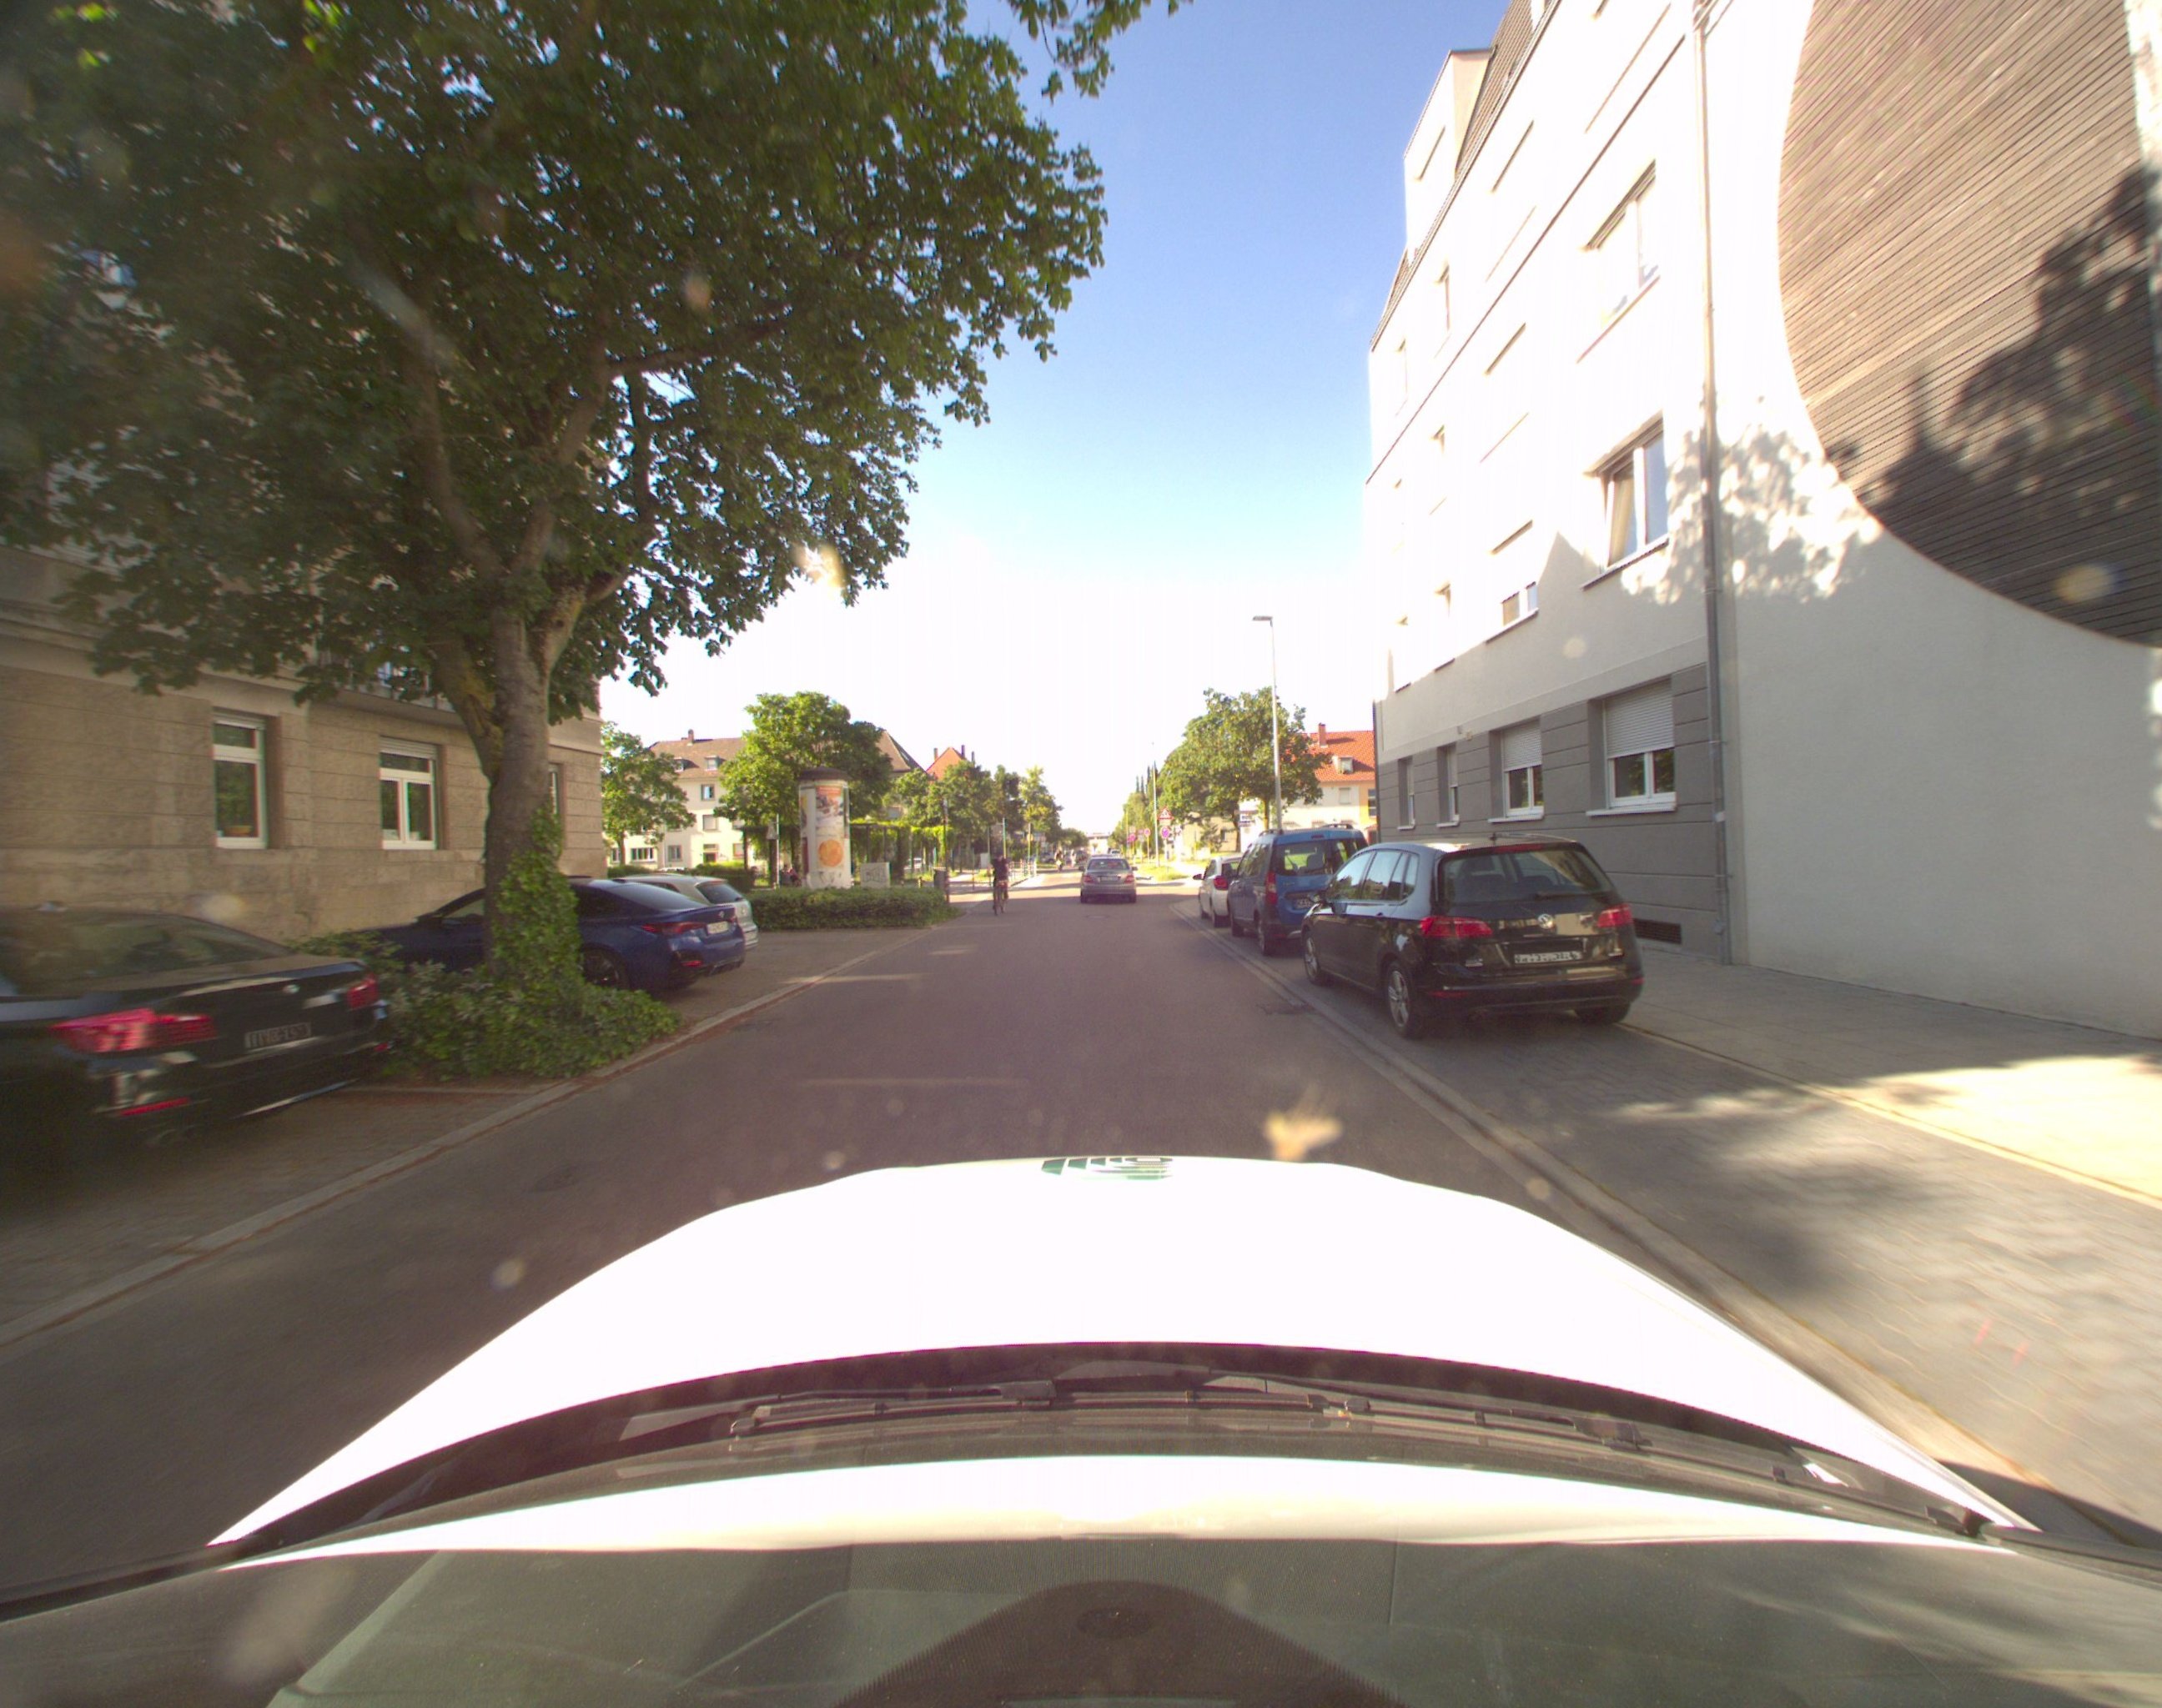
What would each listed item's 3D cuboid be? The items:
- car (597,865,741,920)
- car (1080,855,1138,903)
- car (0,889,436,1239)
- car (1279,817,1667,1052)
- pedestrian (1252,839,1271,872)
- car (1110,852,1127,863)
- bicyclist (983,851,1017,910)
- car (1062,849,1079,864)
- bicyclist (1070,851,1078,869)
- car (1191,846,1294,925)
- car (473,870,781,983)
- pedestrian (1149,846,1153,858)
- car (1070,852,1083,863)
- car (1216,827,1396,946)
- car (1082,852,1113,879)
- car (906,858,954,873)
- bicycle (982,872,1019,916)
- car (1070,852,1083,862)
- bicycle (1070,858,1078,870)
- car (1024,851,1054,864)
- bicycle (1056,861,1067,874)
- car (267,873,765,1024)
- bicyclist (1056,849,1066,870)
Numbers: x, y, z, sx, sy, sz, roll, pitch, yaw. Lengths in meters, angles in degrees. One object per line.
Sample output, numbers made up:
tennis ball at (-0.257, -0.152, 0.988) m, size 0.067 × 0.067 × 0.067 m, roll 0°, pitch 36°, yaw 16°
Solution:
car at (-14.752, 1.414, 29.335) m, size 4.122 × 1.486 × 1.806 m, roll -2°, pitch -15°, yaw 2°
car at (0.929, 0.786, 26.510) m, size 1.720 × 1.420 × 3.962 m, roll 0°, pitch -1°, yaw 2°
car at (-6.561, 1.004, 4.497) m, size 4.460 × 1.479 × 1.868 m, roll -1°, pitch -1°, yaw -1°
car at (3.288, 0.565, 7.868) m, size 1.730 × 1.531 × 4.180 m, roll -5°, pitch 0°, yaw 1°
pedestrian at (9.074, 0.062, 40.872) m, size 0.640 × 1.623 × 0.621 m, roll -3°, pitch 0°, yaw 39°
car at (4.669, 0.417, 102.707) m, size 1.718 × 1.330 × 3.996 m, roll -1°, pitch 0°, yaw -3°
bicyclist at (-2.211, 0.700, 22.328) m, size 0.718 × 1.537 × 1.137 m, roll -3°, pitch 0°, yaw 1°
car at (-1.311, 0.292, 100.325) m, size 1.868 × 1.728 × 3.996 m, roll -2°, pitch 0°, yaw -3°
bicyclist at (-0.610, 0.538, 71.612) m, size 0.569 × 1.509 × 0.655 m, roll -2°, pitch 0°, yaw 3°
car at (3.437, 0.654, 17.950) m, size 1.558 × 1.410 × 3.732 m, roll -6°, pitch -1°, yaw 3°
car at (-6.604, 1.025, 12.133) m, size 3.567 × 1.430 × 1.731 m, roll -1°, pitch 0°, yaw 1°
pedestrian at (9.185, -0.273, 106.923) m, size 0.507 × 1.559 × 0.644 m, roll 0°, pitch -1°, yaw 2°
car at (-0.675, 0.465, 118.795) m, size 1.783 × 1.532 × 3.996 m, roll -1°, pitch 0°, yaw -3°
car at (3.376, 0.477, 13.079) m, size 1.676 × 1.435 × 4.267 m, roll -6°, pitch -1°, yaw 1°
car at (0.929, 0.648, 46.093) m, size 1.701 × 1.448 × 4.203 m, roll 0°, pitch -1°, yaw 1°
car at (-13.535, 1.045, 73.115) m, size 3.976 × 1.376 × 1.999 m, roll 0°, pitch -1°, yaw -2°
bicycle at (-2.194, 1.060, 22.330) m, size 0.717 × 1.079 × 1.891 m, roll -3°, pitch 0°, yaw 2°
car at (-0.691, 0.448, 123.944) m, size 1.783 × 1.532 × 3.996 m, roll -1°, pitch 0°, yaw -3°
bicycle at (-0.599, 0.878, 71.582) m, size 0.587 × 0.931 × 1.851 m, roll -2°, pitch 0°, yaw 3°
car at (-4.924, 0.396, 94.987) m, size 3.488 × 1.533 × 1.642 m, roll -1°, pitch 0°, yaw -6°
bicycle at (-1.425, 0.972, 59.858) m, size 0.587 × 0.931 × 1.851 m, roll -2°, pitch 0°, yaw 3°
car at (-6.304, 1.016, 9.513) m, size 4.460 × 1.479 × 1.868 m, roll -1°, pitch -1°, yaw -1°
bicyclist at (-1.462, 0.424, 59.840) m, size 0.678 × 1.509 × 0.655 m, roll -2°, pitch 0°, yaw 3°
